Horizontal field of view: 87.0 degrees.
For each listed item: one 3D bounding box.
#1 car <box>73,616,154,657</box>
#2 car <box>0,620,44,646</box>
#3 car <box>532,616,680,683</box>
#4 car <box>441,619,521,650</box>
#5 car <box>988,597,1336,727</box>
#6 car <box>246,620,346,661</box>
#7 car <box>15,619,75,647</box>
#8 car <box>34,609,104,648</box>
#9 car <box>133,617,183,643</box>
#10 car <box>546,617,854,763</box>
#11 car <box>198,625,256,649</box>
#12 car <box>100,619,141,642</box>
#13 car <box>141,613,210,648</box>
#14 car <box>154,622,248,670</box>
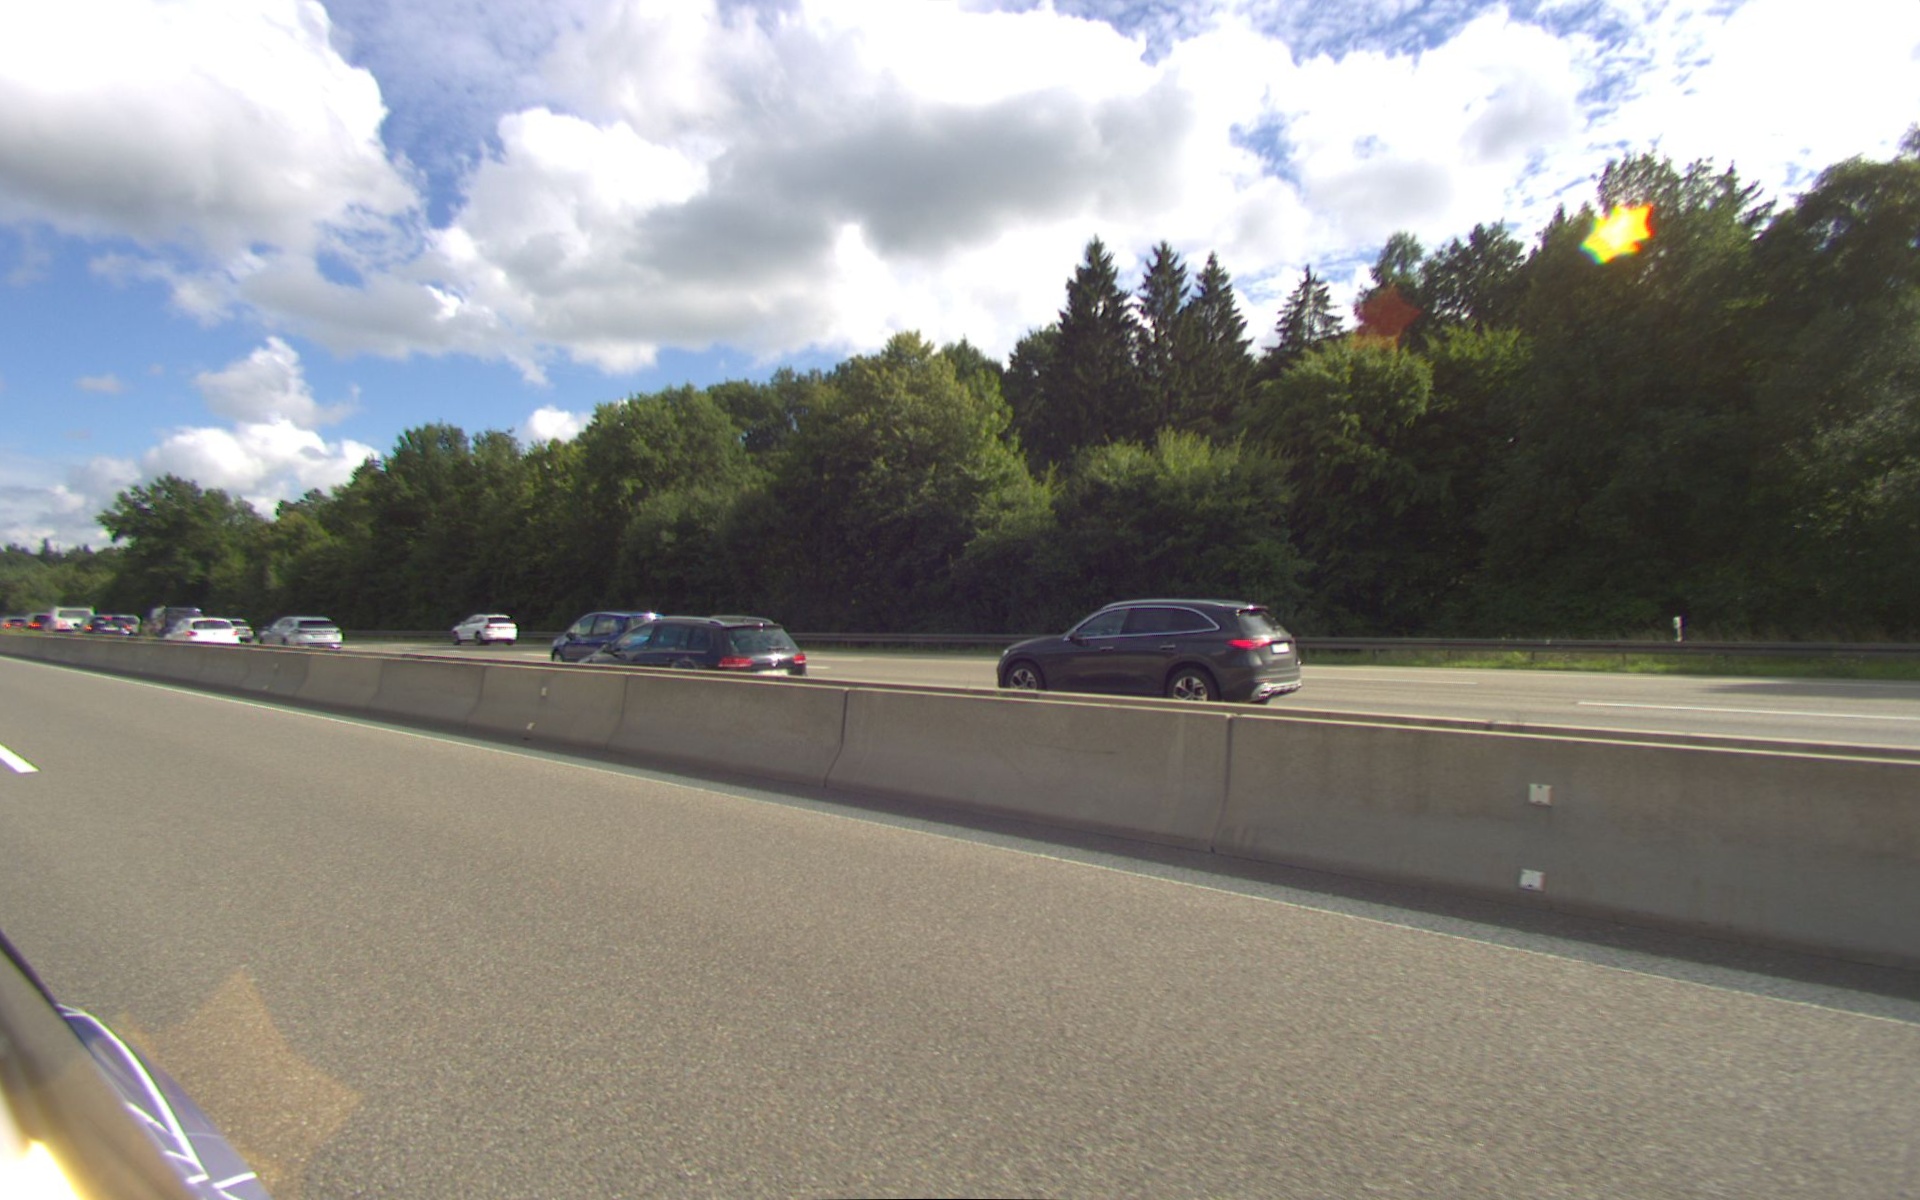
[{"bbox_3d":[-39.253,1.657,46.882,4.873,1.815,2.149,-1,-1,41],"label":"car"},{"bbox_3d":[-61.289,2.151,65.843,4.547,1.630,1.973,-1,-1,41],"label":"car"},{"bbox_3d":[-8.742,1.172,24.875,3.996,1.523,1.613,-1,-1,40],"label":"car"},{"bbox_3d":[-26.264,1.884,55.453,4.873,1.649,2.149,-1,-2,41],"label":"car"},{"bbox_3d":[2.828,0.822,14.916,4.745,1.632,1.840,-1,-1,41],"label":"car"},{"bbox_3d":[-26.101,1.562,39.717,5.128,1.496,1.973,-1,-1,41],"label":"car"},{"bbox_3d":[-54.934,1.950,60.749,4.547,1.630,2.149,-1,-1,41],"label":"car"},{"bbox_3d":[-48.798,1.543,55.393,5.819,2.029,2.136,-1,-3,41],"label":"car"},{"bbox_3d":[-59.091,2.178,74.554,5.338,1.865,1.930,-1,-1,41],"label":"car"},{"bbox_3d":[-4.126,1.238,15.604,4.978,1.892,2.149,-1,-3,41],"label":"car"},{"bbox_3d":[-43.726,2.178,60.340,4.547,1.312,1.846,-1,-1,41],"label":"car"},{"bbox_3d":[-68.763,2.511,82.891,4.547,1.813,1.827,-1,-3,41],"label":"car"},{"bbox_3d":[-42.091,1.620,54.261,5.123,1.819,1.973,-1,-1,41],"label":"car"},{"bbox_3d":[-27.846,1.656,37.084,4.239,1.653,1.893,-1,-3,41],"label":"car"}]
